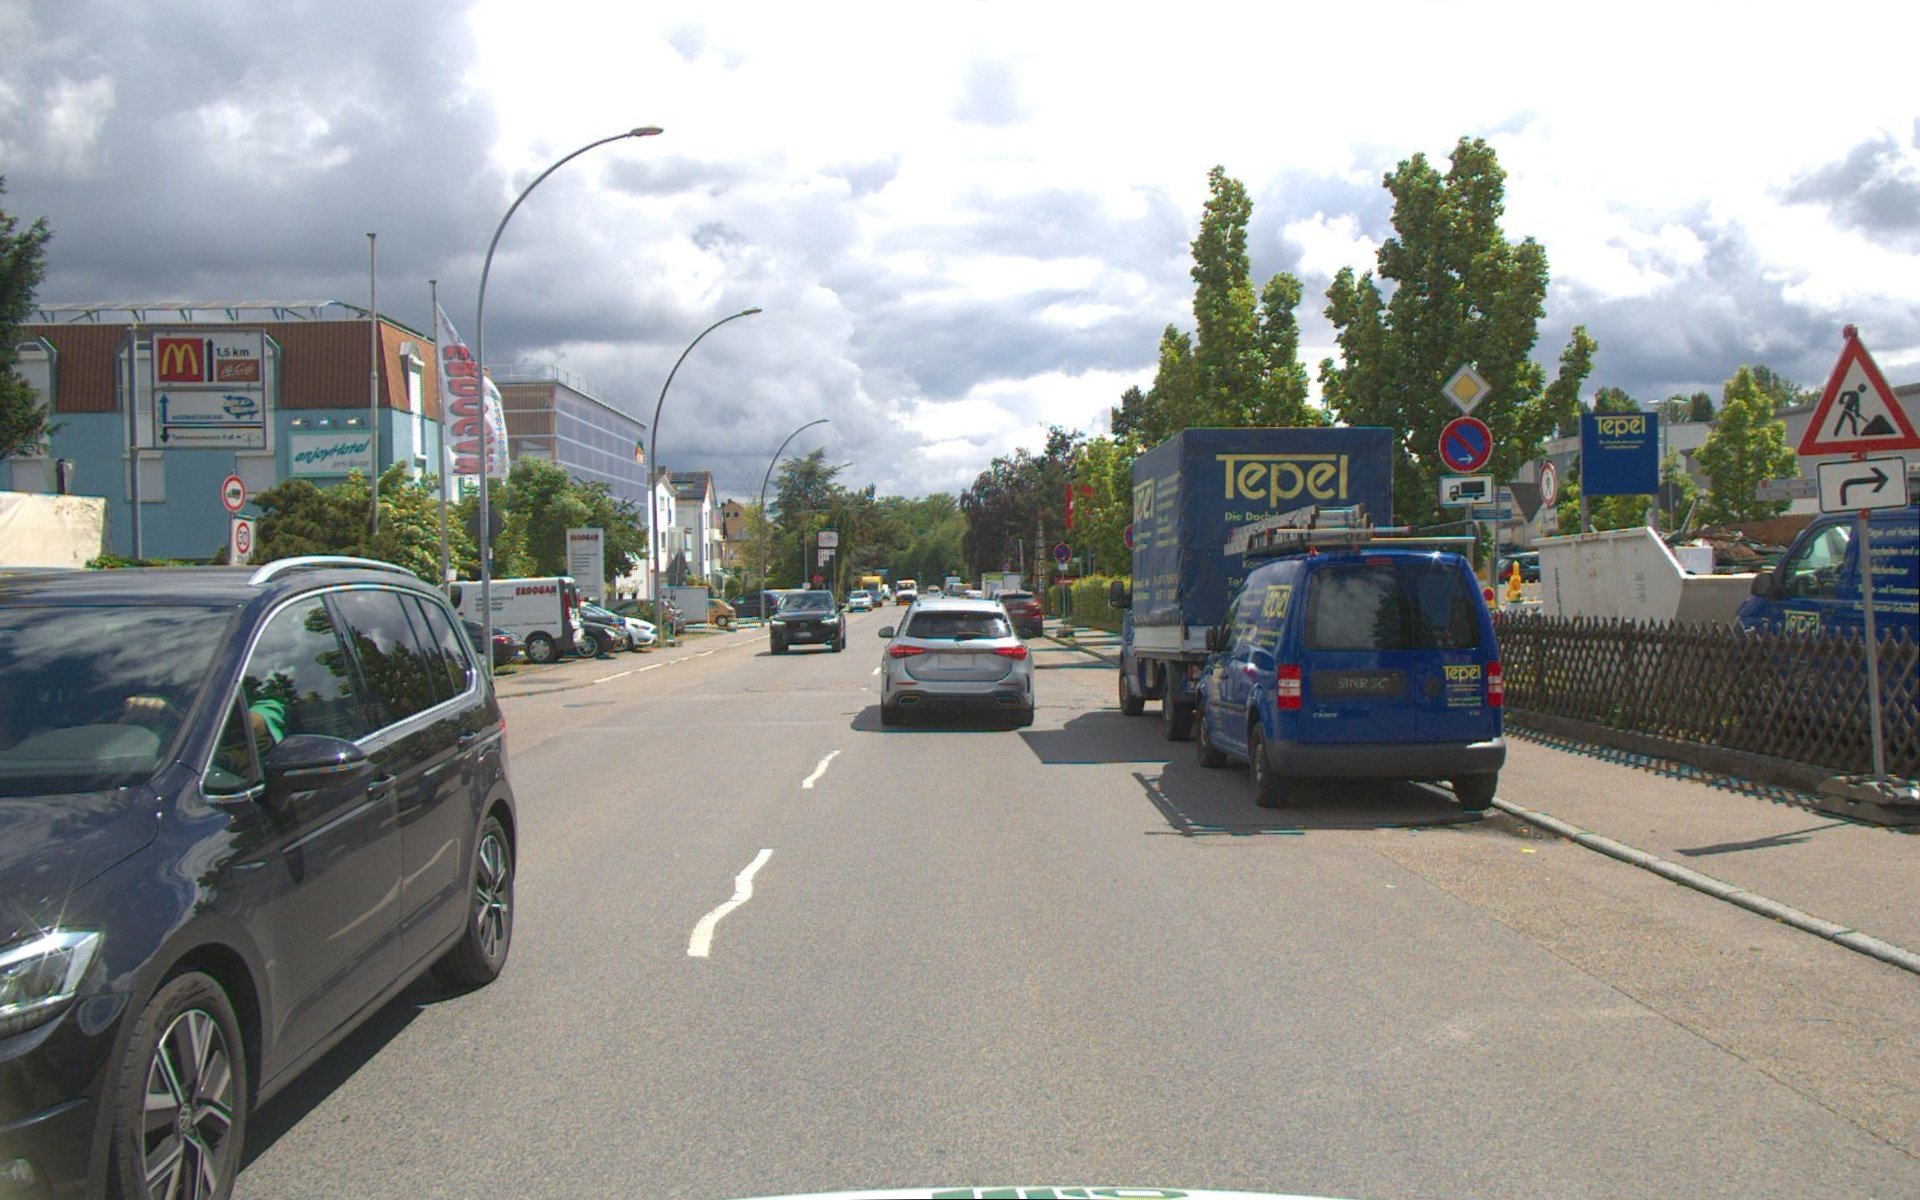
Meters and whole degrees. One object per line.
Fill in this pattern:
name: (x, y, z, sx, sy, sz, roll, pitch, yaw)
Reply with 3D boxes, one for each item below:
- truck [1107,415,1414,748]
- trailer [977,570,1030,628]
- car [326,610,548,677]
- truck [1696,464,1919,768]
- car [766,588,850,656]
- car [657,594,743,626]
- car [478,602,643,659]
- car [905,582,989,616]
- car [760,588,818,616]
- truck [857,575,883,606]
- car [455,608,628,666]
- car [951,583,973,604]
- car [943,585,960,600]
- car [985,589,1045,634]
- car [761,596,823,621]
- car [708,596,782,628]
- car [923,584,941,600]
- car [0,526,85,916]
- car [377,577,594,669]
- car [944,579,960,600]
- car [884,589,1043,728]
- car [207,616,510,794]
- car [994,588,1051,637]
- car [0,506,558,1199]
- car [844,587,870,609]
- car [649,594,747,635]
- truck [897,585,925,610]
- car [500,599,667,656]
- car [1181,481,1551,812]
truck: (3.135, -0.206, 18.794, 2.273, 3.151, 6.041, 1, 1, -1)
trailer: (1.813, -0.069, 70.401, 1.902, 2.334, 4.443, -2, 0, -2)
car: (-10.540, 0.865, 33.524, 3.907, 1.225, 1.871, 1, 1, -3)
truck: (7.526, 0.036, 11.912, 1.793, 2.117, 5.384, -4, 2, -2)
car: (-4.079, 0.545, 44.973, 1.953, 1.644, 4.410, -2, 1, -2)
car: (-13.055, 0.499, 83.189, 4.068, 1.518, 1.824, 1, 1, -5)
car: (-10.617, 0.789, 44.147, 3.904, 1.379, 1.872, -1, 1, 1)
car: (-0.631, -0.055, 83.059, 3.902, 1.624, 2.002, 1, 1, 9)
car: (-12.802, 0.164, 124.135, 4.193, 1.868, 1.990, -2, -3, -2)
truck: (-8.831, -0.990, 163.331, 2.032, 2.863, 7.078, -2, 1, 0)
car: (-10.563, 0.919, 41.929, 3.907, 1.338, 1.870, -1, 0, -3)
car: (0.209, -0.622, 165.102, 2.100, 2.018, 5.260, -2, 0, -1)
car: (-1.004, -0.848, 190.459, 1.749, 1.745, 4.314, 0, 0, -3)
car: (2.102, 0.407, 64.153, 1.903, 1.598, 4.443, -2, 1, -3)
car: (-12.039, 0.602, 118.504, 4.192, 1.594, 1.990, -2, -3, -1)
car: (-13.817, 0.777, 106.483, 4.537, 1.661, 2.196, -4, 1, -5)
car: (-2.869, -0.808, 169.083, 1.720, 1.585, 3.999, -1, 1, -2)
car: (-5.444, 0.658, 6.497, 1.709, 1.870, 4.354, -4, 1, -2)
car: (-11.196, 0.516, 39.307, 4.560, 2.006, 2.113, -1, 1, -5)
car: (-0.989, -1.262, 202.440, 1.749, 2.562, 4.314, 0, 0, -3)
car: (-0.058, 0.634, 20.389, 1.749, 1.510, 4.314, 0, 1, -3)
car: (-5.761, 0.928, 16.369, 1.598, 1.326, 4.114, -4, 1, -3)
car: (2.213, 0.406, 59.174, 1.901, 1.598, 4.446, -2, 1, 1)
car: (-2.564, 0.643, 5.030, 1.708, 1.656, 4.355, -1, 1, -2)
car: (-8.053, -0.153, 129.484, 1.755, 1.631, 4.362, -2, 1, -1)
car: (-10.512, 0.581, 66.583, 3.553, 1.559, 1.980, -1, 0, 1)
truck: (-4.618, -0.290, 156.744, 2.271, 2.216, 6.450, -2, 1, 1)
car: (-10.649, 0.778, 46.990, 4.286, 1.504, 1.871, -1, -1, -1)
car: (3.038, 0.291, 13.390, 1.835, 2.207, 4.464, 1, 1, -1)
